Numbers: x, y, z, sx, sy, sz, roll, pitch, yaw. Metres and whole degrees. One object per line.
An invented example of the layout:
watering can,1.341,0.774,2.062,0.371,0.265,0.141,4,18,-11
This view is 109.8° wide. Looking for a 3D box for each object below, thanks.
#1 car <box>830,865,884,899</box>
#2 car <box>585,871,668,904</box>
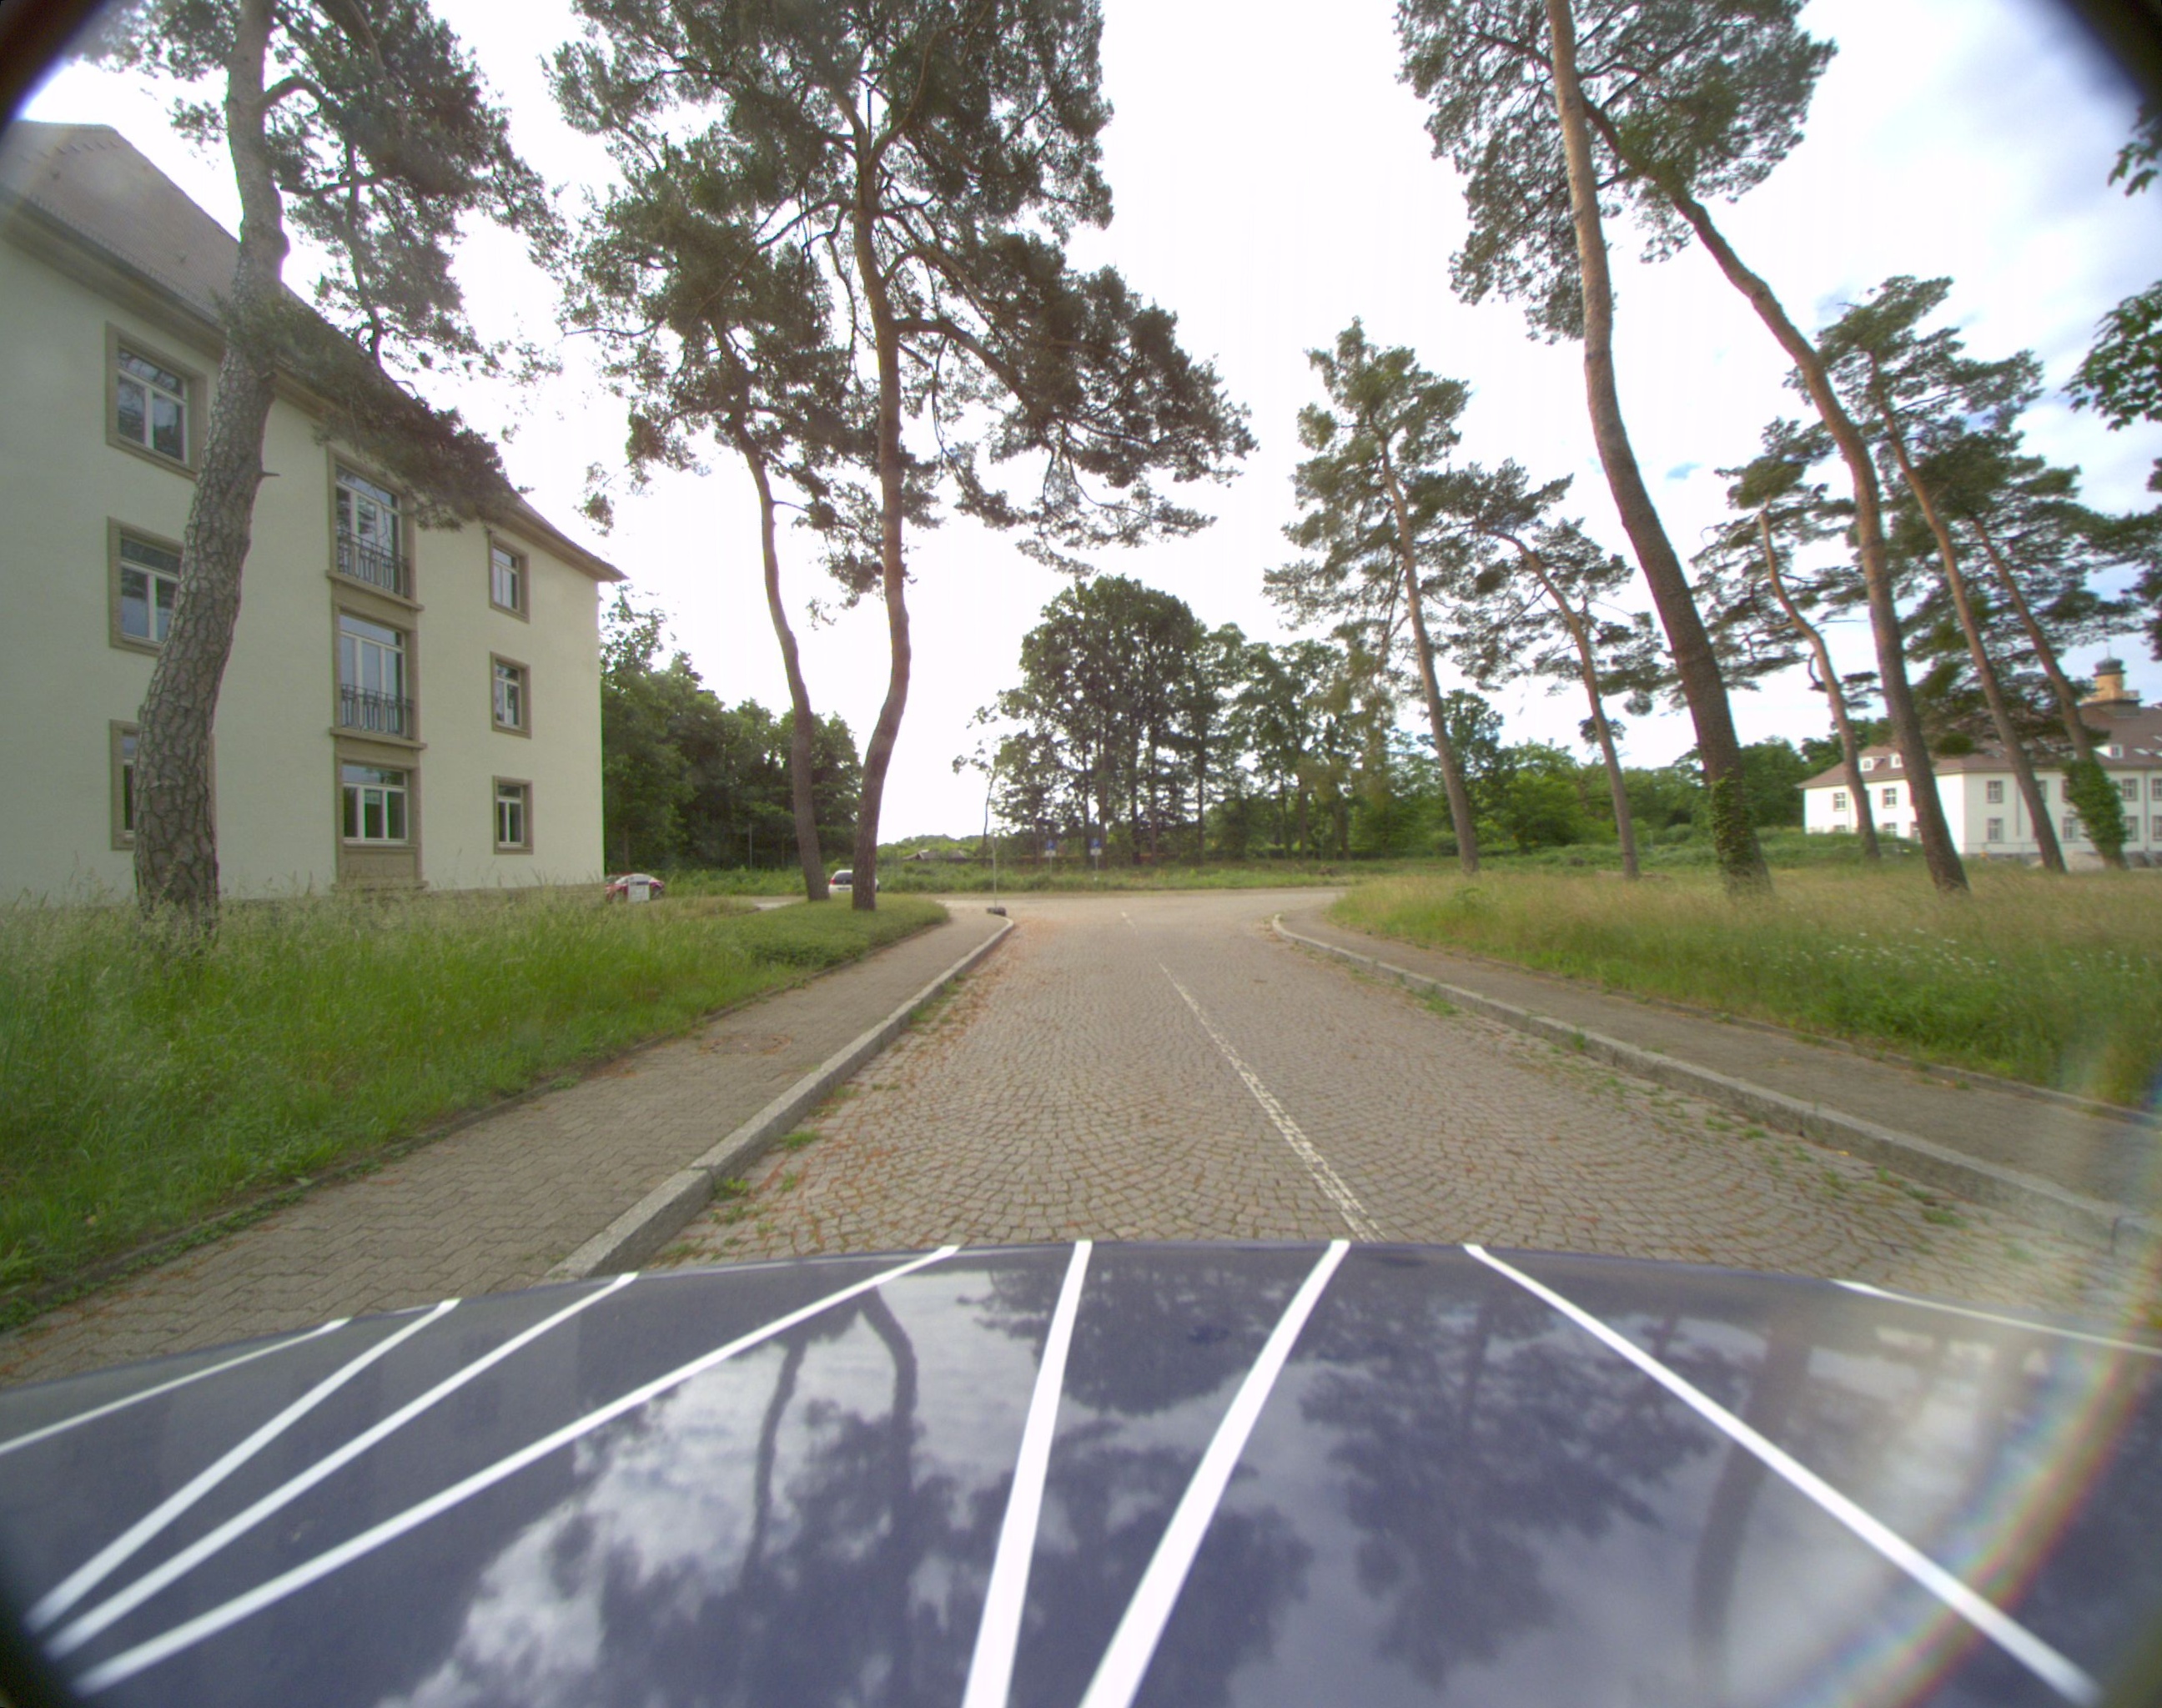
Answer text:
car,-11.109,1.362,37.866,1.641,1.426,3.277,-1,2,1
car,-22.414,1.598,37.651,1.641,1.321,3.999,-1,2,1
